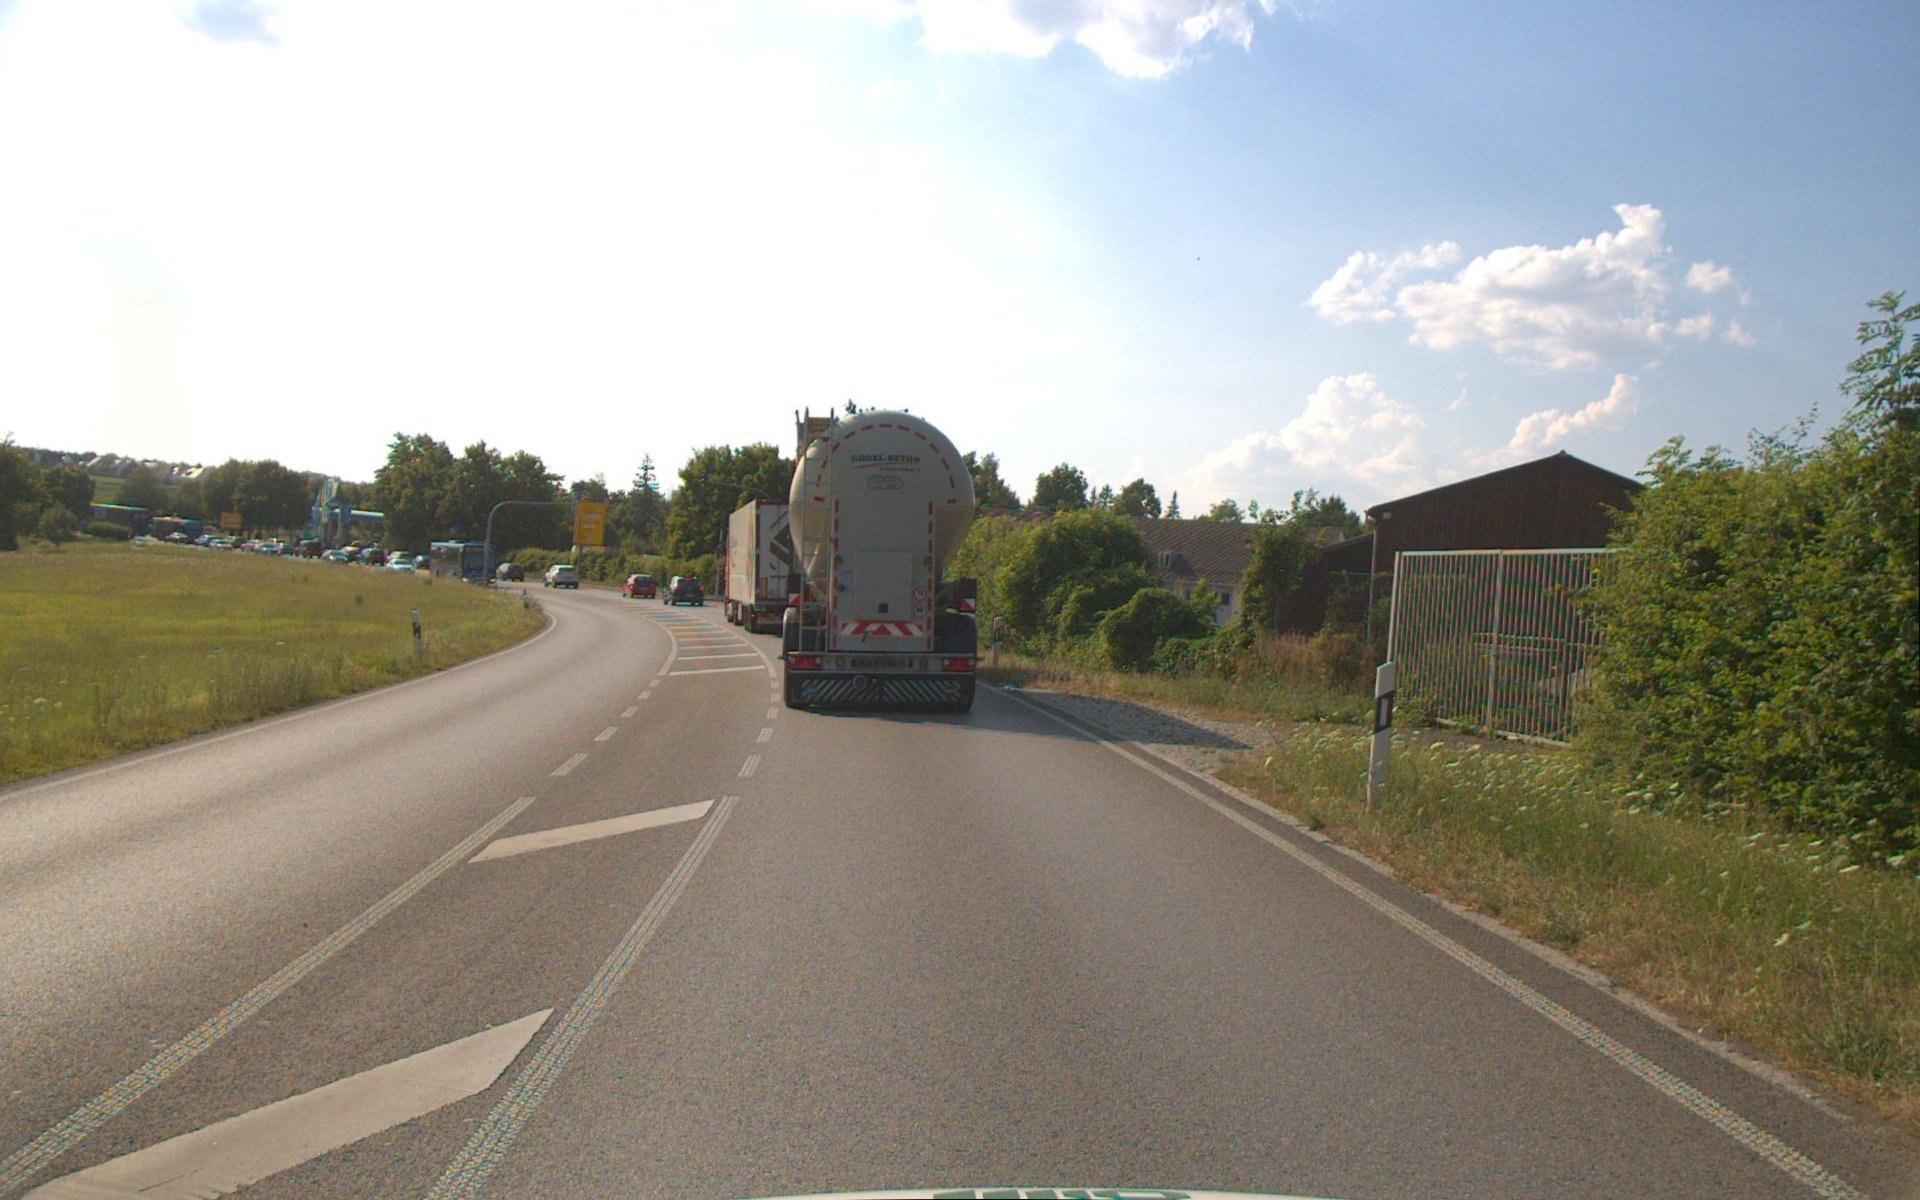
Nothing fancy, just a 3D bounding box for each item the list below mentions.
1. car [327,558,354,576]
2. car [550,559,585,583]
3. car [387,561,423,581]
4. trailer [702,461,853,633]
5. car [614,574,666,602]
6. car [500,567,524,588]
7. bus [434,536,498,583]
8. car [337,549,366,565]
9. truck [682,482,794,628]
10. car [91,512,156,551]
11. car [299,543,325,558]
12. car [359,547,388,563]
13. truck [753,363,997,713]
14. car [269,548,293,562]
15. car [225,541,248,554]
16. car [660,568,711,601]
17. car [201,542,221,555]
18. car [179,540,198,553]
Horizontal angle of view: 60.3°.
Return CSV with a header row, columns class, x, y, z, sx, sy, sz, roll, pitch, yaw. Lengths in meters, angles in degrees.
class,x,y,z,sx,sy,sz,roll,pitch,yaw
car,-62.041,-3.260,165.672,1.822,1.685,3.959,2,-1,-30
car,-29.645,-2.170,124.828,1.818,1.685,3.968,2,-1,-25
car,-48.274,-2.502,143.783,1.826,1.685,3.950,2,-1,-36
trailer,-6.134,-1.557,53.732,2.917,4.967,10.238,2,-1,-17
car,-20.642,-0.758,106.512,2.270,1.685,4.380,2,-1,-25
car,-38.071,-1.878,140.500,1.499,1.685,3.845,2,-1,-23
bus,-36.893,-2.924,123.162,2.759,3.237,12.028,2,-1,-25
car,-67.395,-4.735,183.167,2.068,1.627,3.950,2,1,-36
truck,-8.204,-1.558,60.501,2.916,4.972,6.399,2,-1,-17
car,-116.271,-9.505,229.769,13.007,5.147,3.532,3,1,42
car,-75.218,-5.731,191.893,2.065,1.627,3.957,2,1,-32
car,-62.543,-4.771,176.239,2.065,1.627,3.957,2,1,-32
truck,-1.512,-0.719,26.296,2.917,4.248,11.650,2,-1,-5
car,-81.968,-5.413,199.682,2.065,1.627,3.957,2,1,-32
car,-91.460,-6.621,209.091,1.866,1.627,3.951,2,1,-35
car,-15.083,-0.847,90.743,1.965,1.685,3.974,2,-1,-22
car,-97.330,-6.737,214.825,1.863,1.627,3.957,2,1,-32
car,-102.204,-7.039,219.044,1.863,1.627,3.957,2,1,-32
